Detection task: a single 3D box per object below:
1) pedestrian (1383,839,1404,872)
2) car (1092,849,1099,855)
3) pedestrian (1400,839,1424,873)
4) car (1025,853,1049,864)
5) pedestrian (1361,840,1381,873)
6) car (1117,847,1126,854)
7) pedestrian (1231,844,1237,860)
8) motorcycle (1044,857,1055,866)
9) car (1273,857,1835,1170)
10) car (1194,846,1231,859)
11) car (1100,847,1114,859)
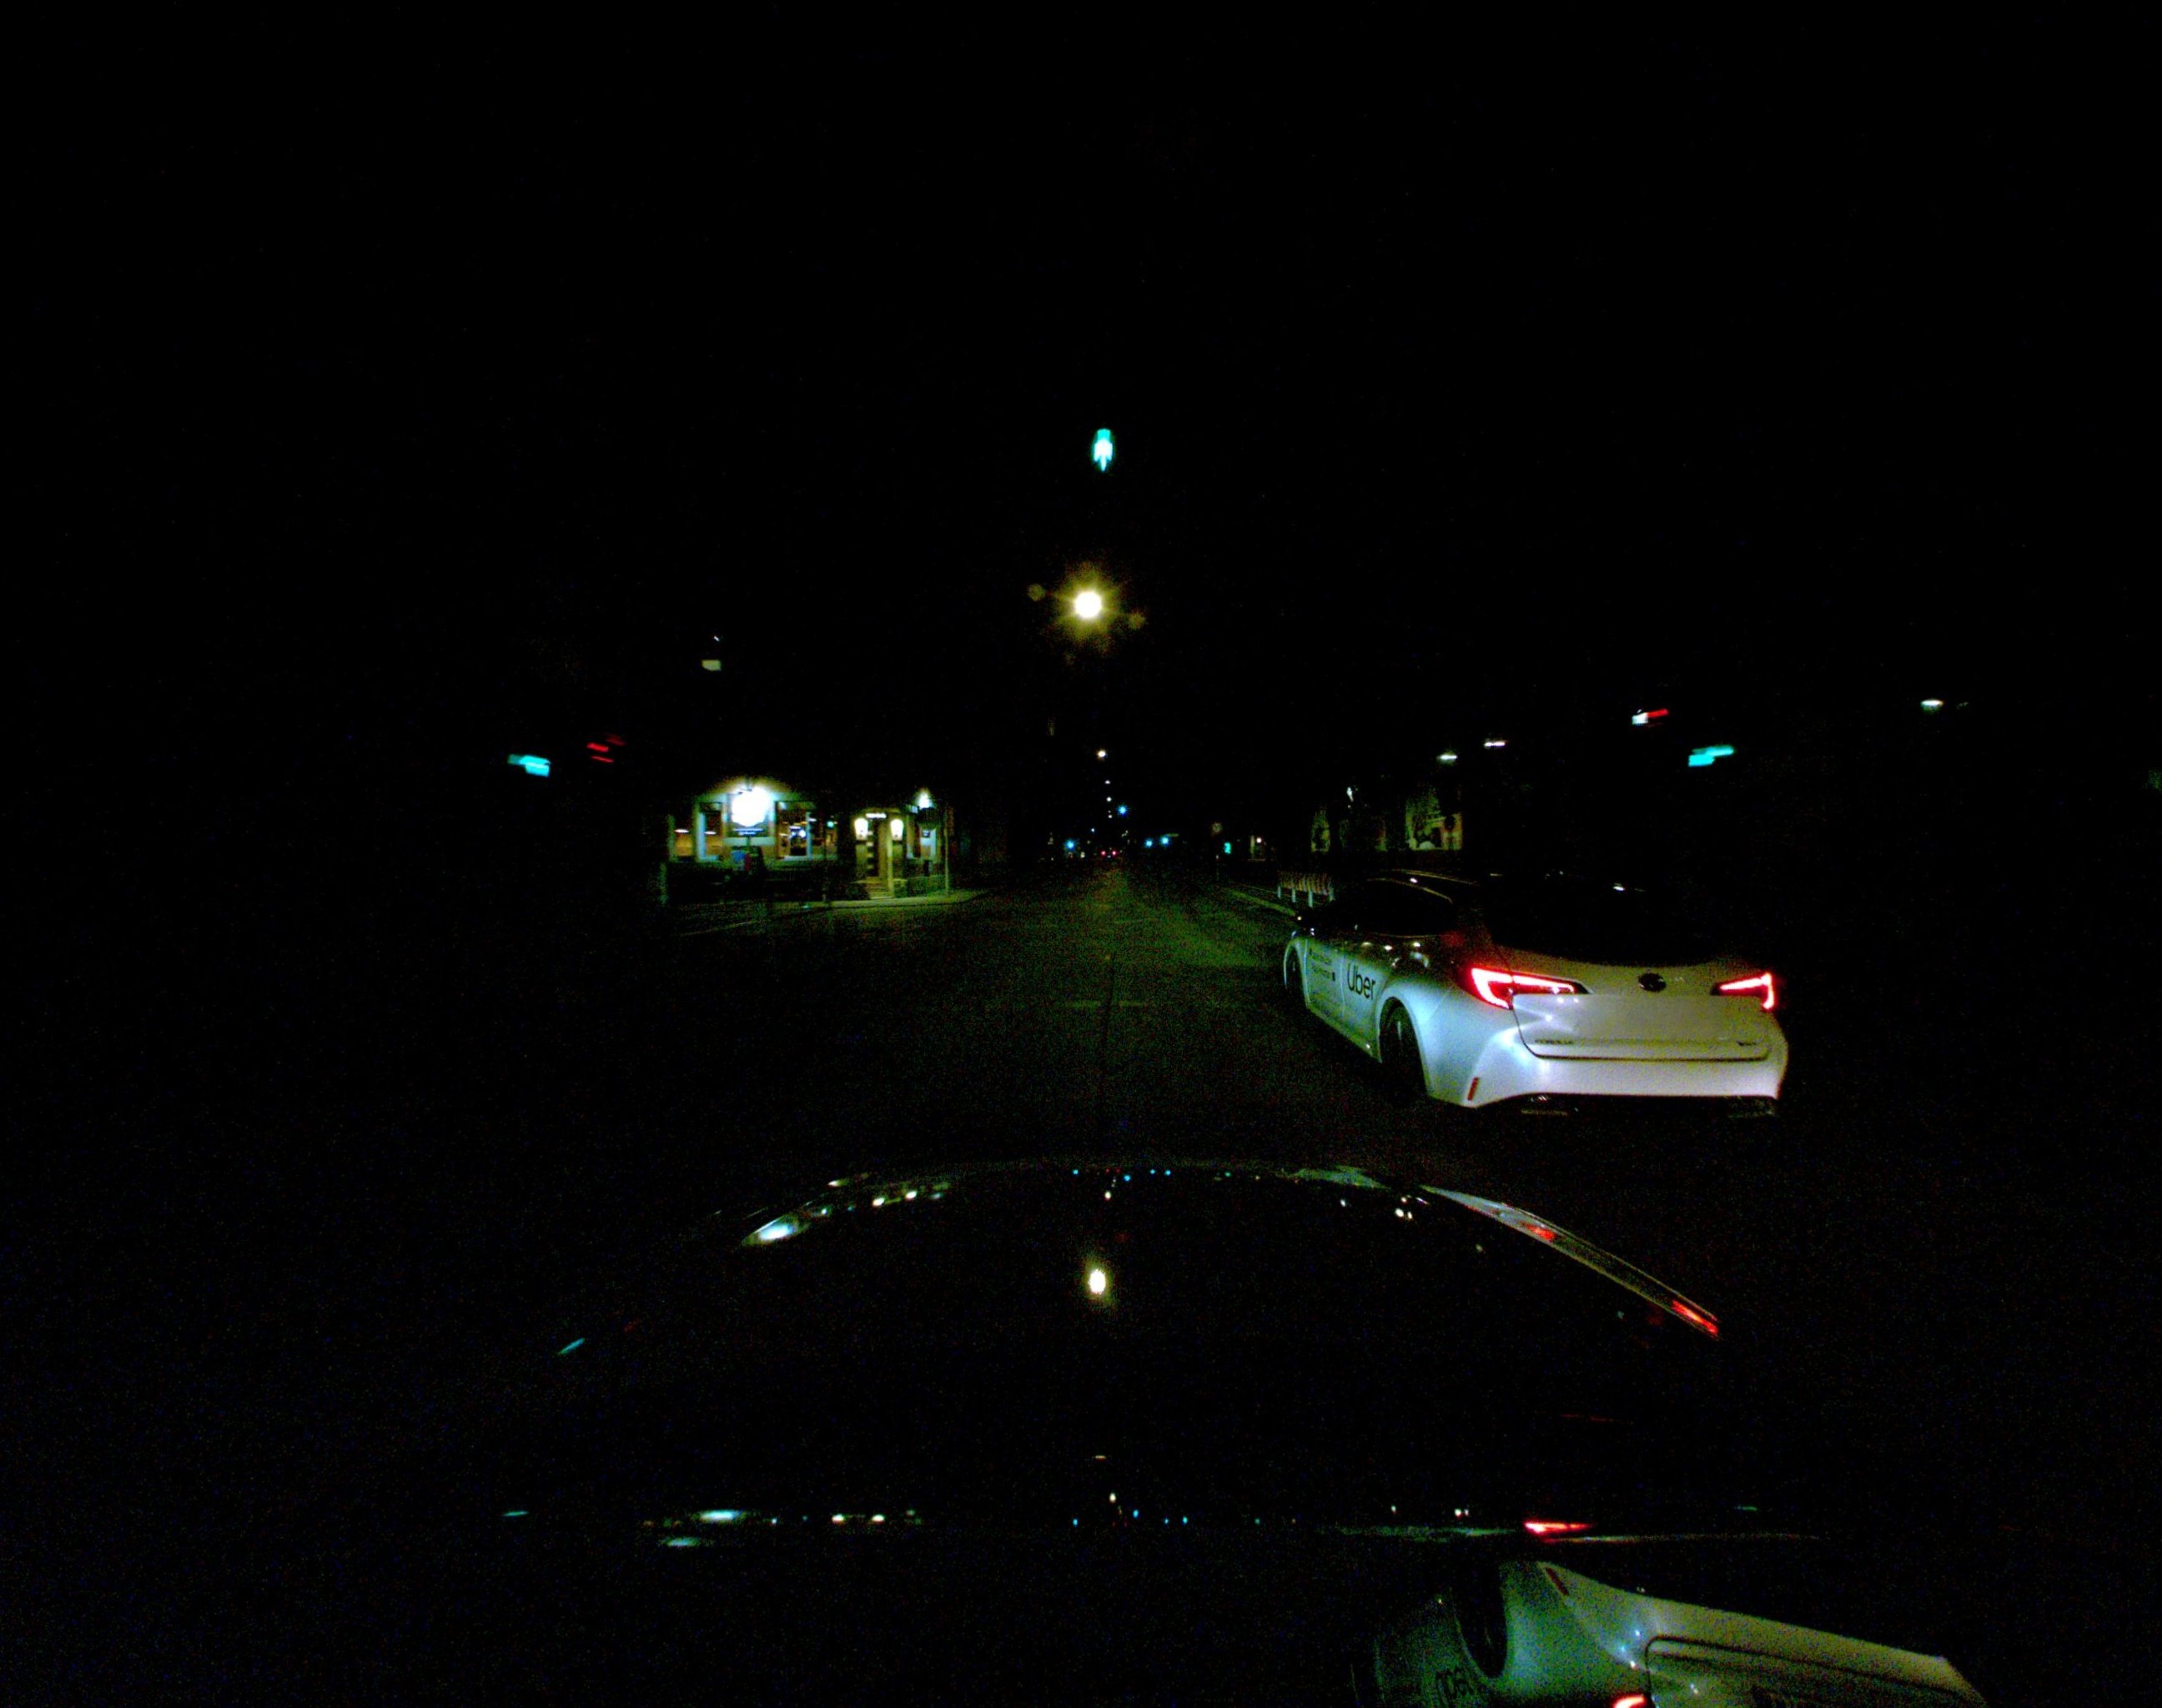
[{"bbox_3d":[16.886,0.075,44.037,0.736,1.769,0.907,-2,0,2],"label":"pedestrian"},{"bbox_3d":[3.698,-0.483,205.707,1.772,1.390,4.000,-2,0,0],"label":"car"},{"bbox_3d":[17.971,0.105,44.226,0.897,1.769,0.907,-2,0,2],"label":"pedestrian"},{"bbox_3d":[-6.202,0.615,114.815,1.815,1.486,3.962,-2,0,-30],"label":"car"},{"bbox_3d":[15.807,0.149,44.360,0.711,1.769,0.907,-2,0,2],"label":"pedestrian"},{"bbox_3d":[10.965,-0.953,220.108,1.987,1.596,3.999,-2,0,0],"label":"car"},{"bbox_3d":[19.242,-0.227,102.245,0.529,2.013,0.670,-2,0,1],"label":"pedestrian"},{"bbox_3d":[-4.345,1.018,111.979,0.783,1.204,2.436,-2,0,-17],"label":"motorcycle"},{"bbox_3d":[2.731,0.763,5.949,1.723,1.435,4.211,1,0,1],"label":"car"},{"bbox_3d":[14.961,-0.185,92.716,3.968,1.386,1.773,-2,0,4],"label":"car"},{"bbox_3d":[3.830,-0.173,121.894,1.987,1.640,4.000,-1,0,0],"label":"car"}]
